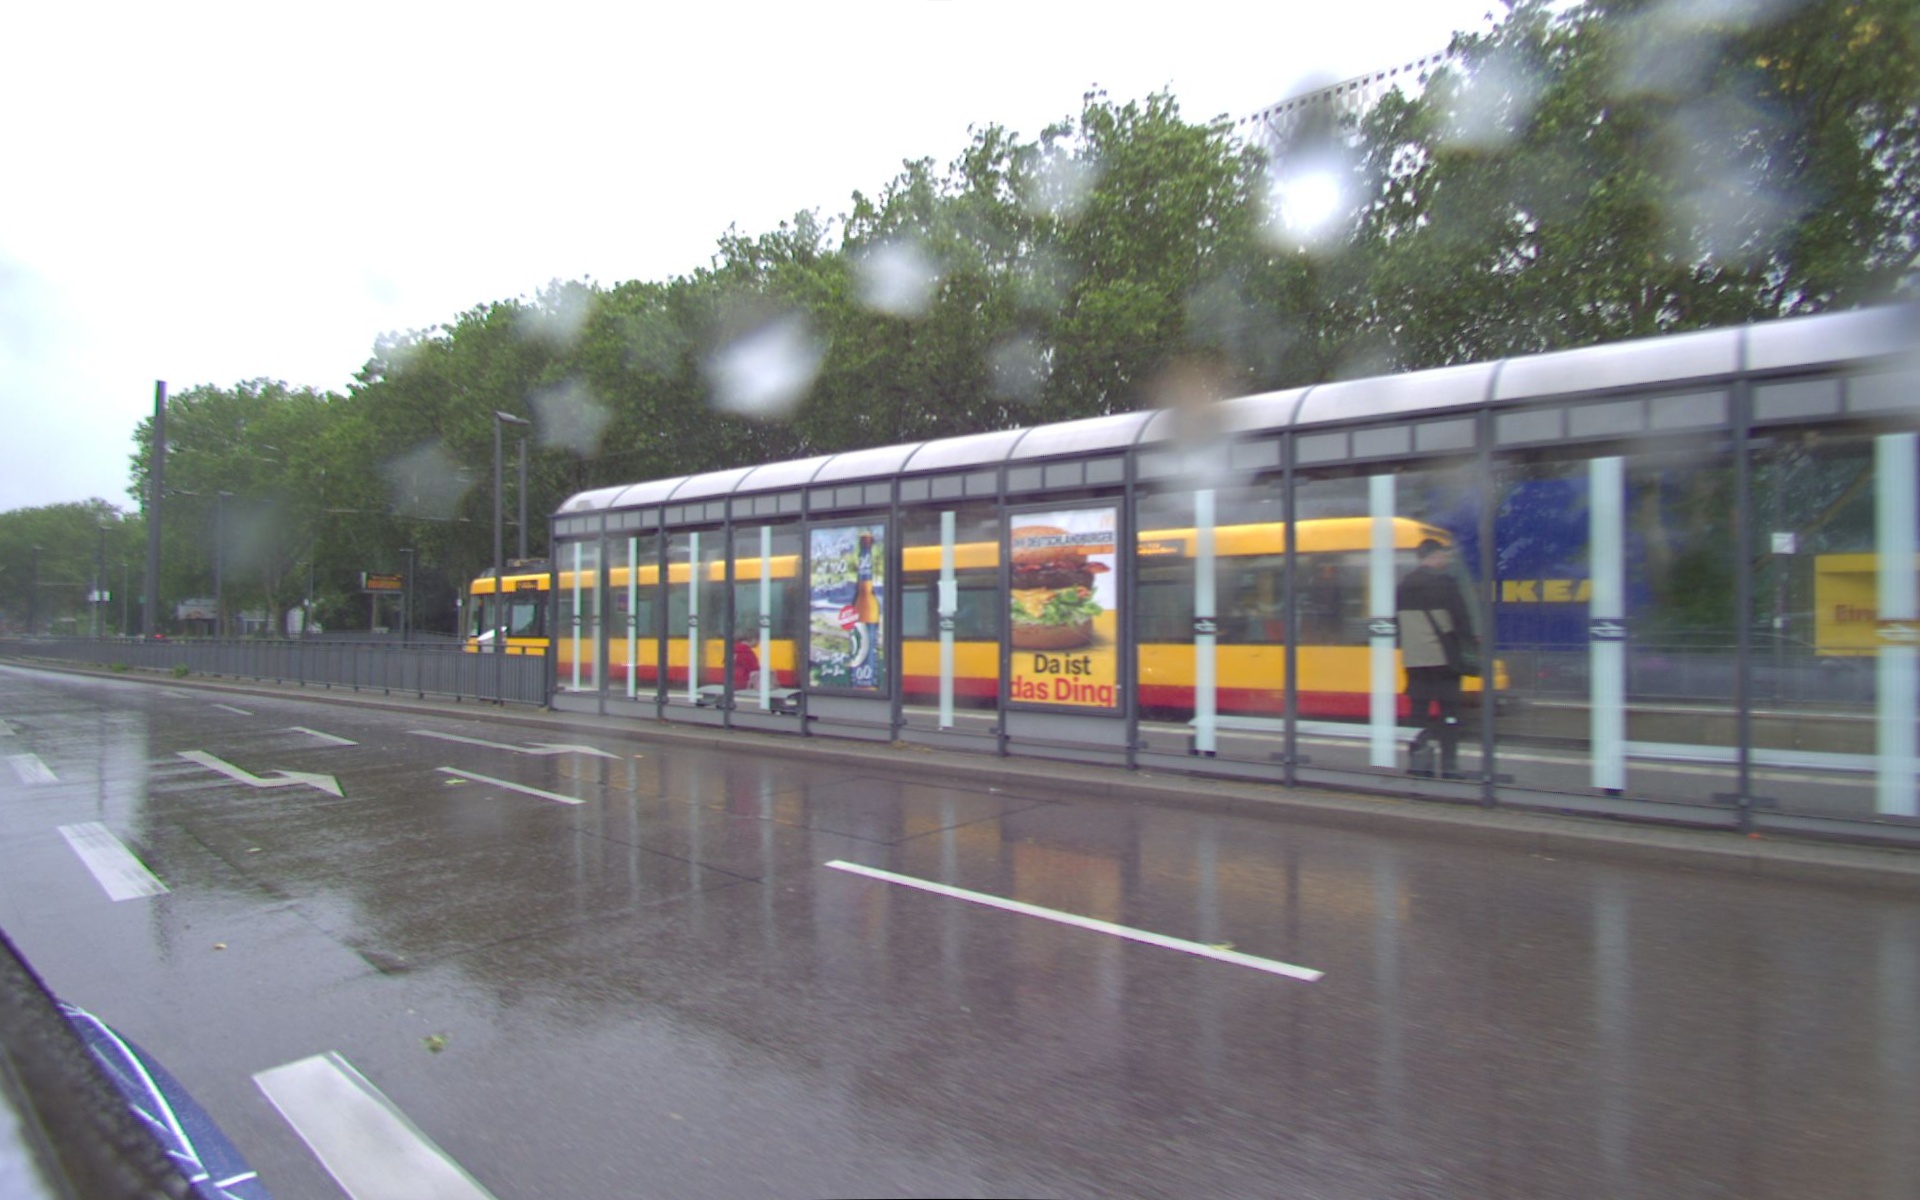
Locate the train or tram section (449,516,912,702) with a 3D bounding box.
[{"bbox_3d":[-8.315,0.263,27.229,15.556,3.827,3.704,-1,0,39],"label":"train or tram section"}]

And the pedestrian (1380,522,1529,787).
[{"bbox_3d":[3.754,0.385,7.703,0.646,1.885,0.774,-1,0,-34],"label":"pedestrian"}]

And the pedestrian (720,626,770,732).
[{"bbox_3d":[-2.629,0.946,12.367,0.451,1.245,0.468,0,0,-36],"label":"pedestrian"}]

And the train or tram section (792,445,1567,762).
[{"bbox_3d":[2.854,0.097,18.011,13.241,3.868,3.704,-1,0,39],"label":"train or tram section"}]
